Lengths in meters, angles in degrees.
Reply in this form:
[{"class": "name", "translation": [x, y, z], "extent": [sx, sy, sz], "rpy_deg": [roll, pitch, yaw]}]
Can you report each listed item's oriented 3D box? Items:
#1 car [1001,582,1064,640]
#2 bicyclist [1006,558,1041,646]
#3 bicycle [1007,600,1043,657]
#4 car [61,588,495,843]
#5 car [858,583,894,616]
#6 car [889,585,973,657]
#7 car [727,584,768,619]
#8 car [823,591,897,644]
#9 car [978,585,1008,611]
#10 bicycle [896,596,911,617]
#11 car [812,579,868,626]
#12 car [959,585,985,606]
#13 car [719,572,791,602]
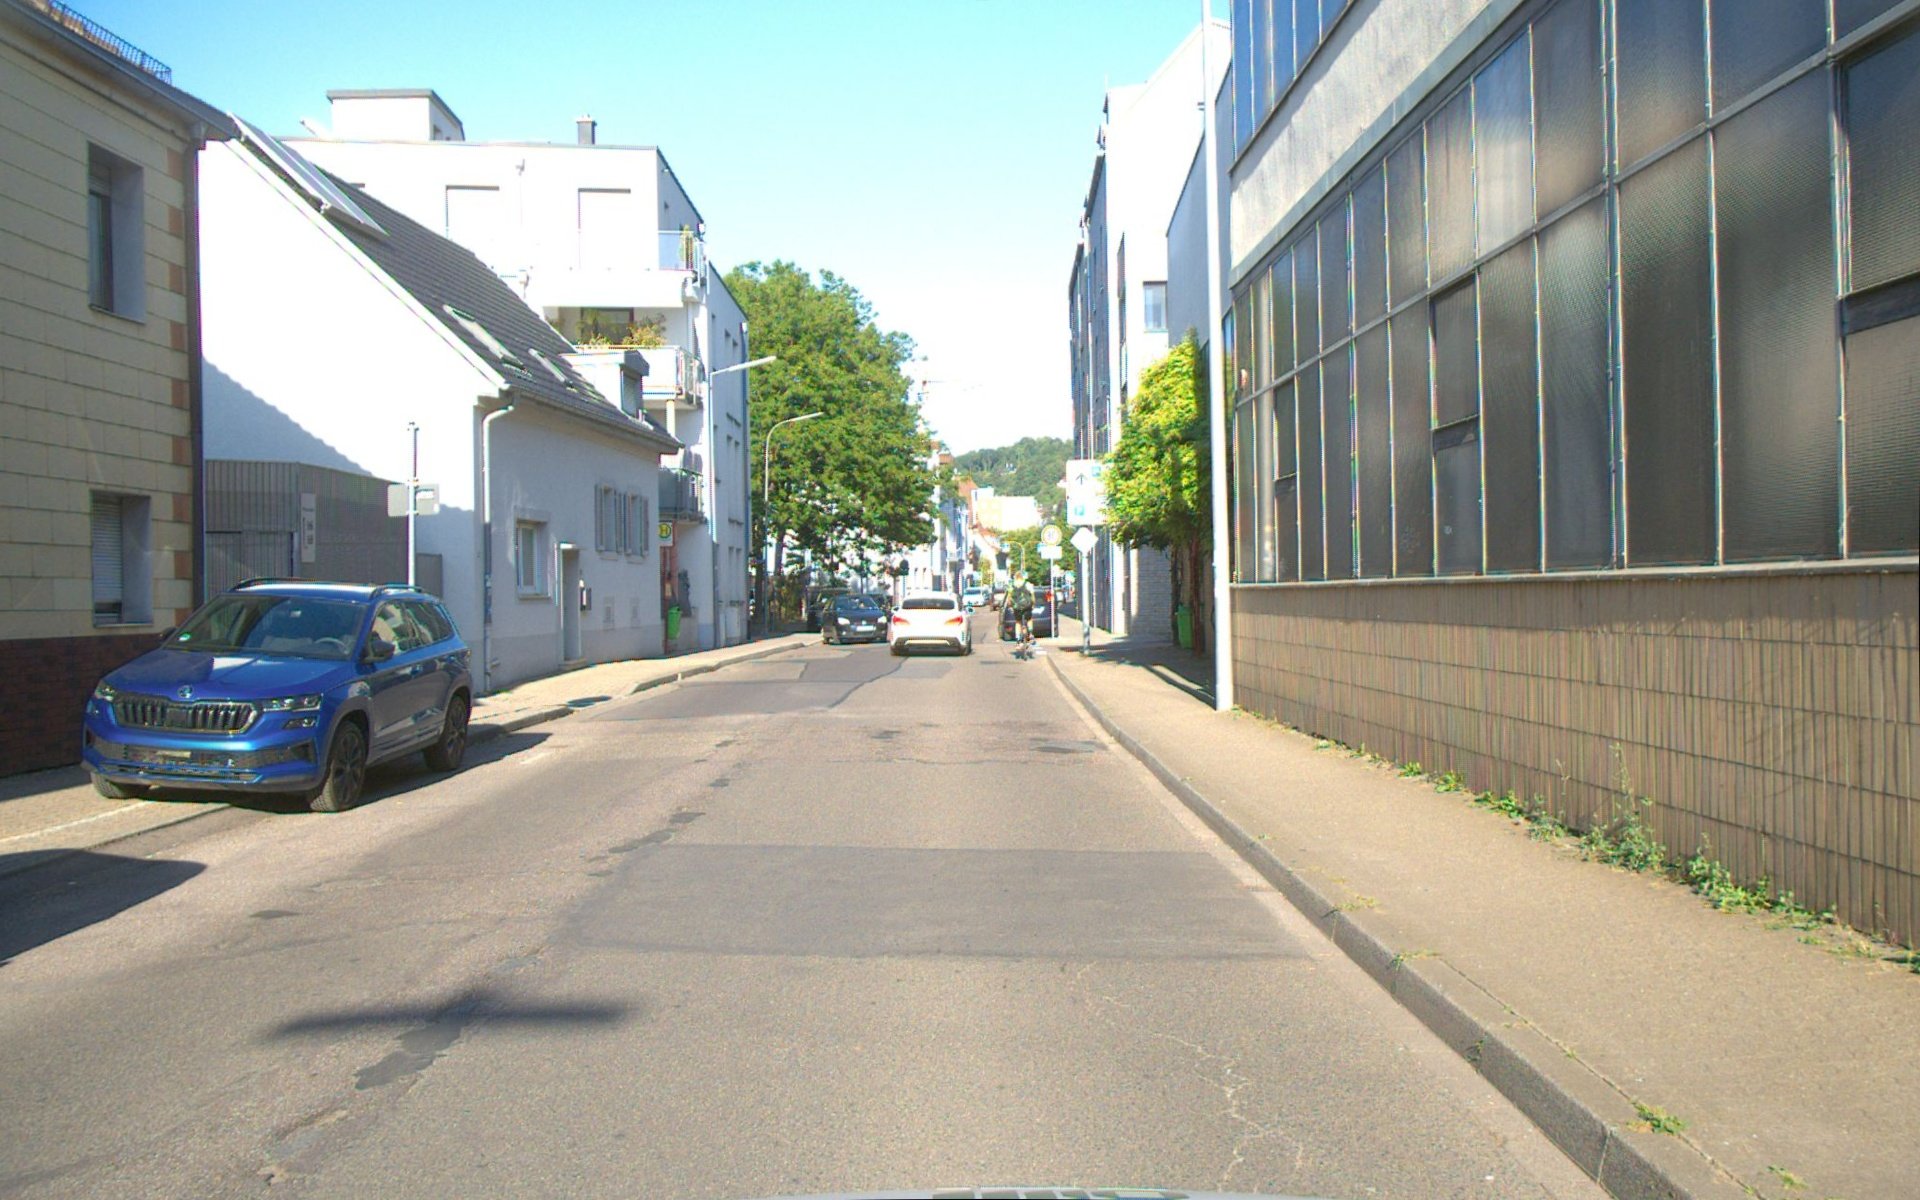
[{"class": "car", "translation": [2.215, 0.319, 51.276], "extent": [1.597, 1.614, 4.069], "rpy_deg": [-5, 0, -1]}, {"class": "bicyclist", "translation": [1.354, 0.045, 35.247], "extent": [0.684, 1.821, 1.041], "rpy_deg": [-1, 0, 1]}, {"class": "bicycle", "translation": [1.368, 0.597, 35.344], "extent": [0.684, 1.150, 2.403], "rpy_deg": [-1, 0, 1]}, {"class": "car", "translation": [-5.226, 0.770, 13.356], "extent": [1.772, 1.614, 4.193], "rpy_deg": [0, 2, -1]}, {"class": "car", "translation": [-4.398, -0.040, 87.070], "extent": [1.669, 1.603, 3.913], "rpy_deg": [-2, 1, -1]}, {"class": "car", "translation": [-0.678, 0.445, 38.121], "extent": [1.805, 1.517, 4.143], "rpy_deg": [-2, 0, -1]}, {"class": "car", "translation": [-10.984, 0.067, 85.681], "extent": [1.754, 1.719, 3.964], "rpy_deg": [0, 1, -2]}, {"class": "car", "translation": [-3.088, 0.512, 50.295], "extent": [1.808, 1.517, 4.135], "rpy_deg": [-2, 0, -9]}, {"class": "car", "translation": [2.377, -0.158, 119.683], "extent": [1.816, 1.822, 4.605], "rpy_deg": [-2, 1, -2]}, {"class": "bicycle", "translation": [-3.512, 0.381, 102.124], "extent": [0.818, 1.239, 2.842], "rpy_deg": [-2, 1, 0]}, {"class": "car", "translation": [-4.939, 0.070, 68.595], "extent": [1.815, 1.822, 4.608], "rpy_deg": [-2, 1, 1]}, {"class": "car", "translation": [1.088, -0.431, 142.735], "extent": [1.905, 1.614, 4.623], "rpy_deg": [-5, 0, 3]}, {"class": "car", "translation": [-11.824, -0.756, 95.374], "extent": [3.818, 1.603, 1.711], "rpy_deg": [-2, 1, 5]}]
